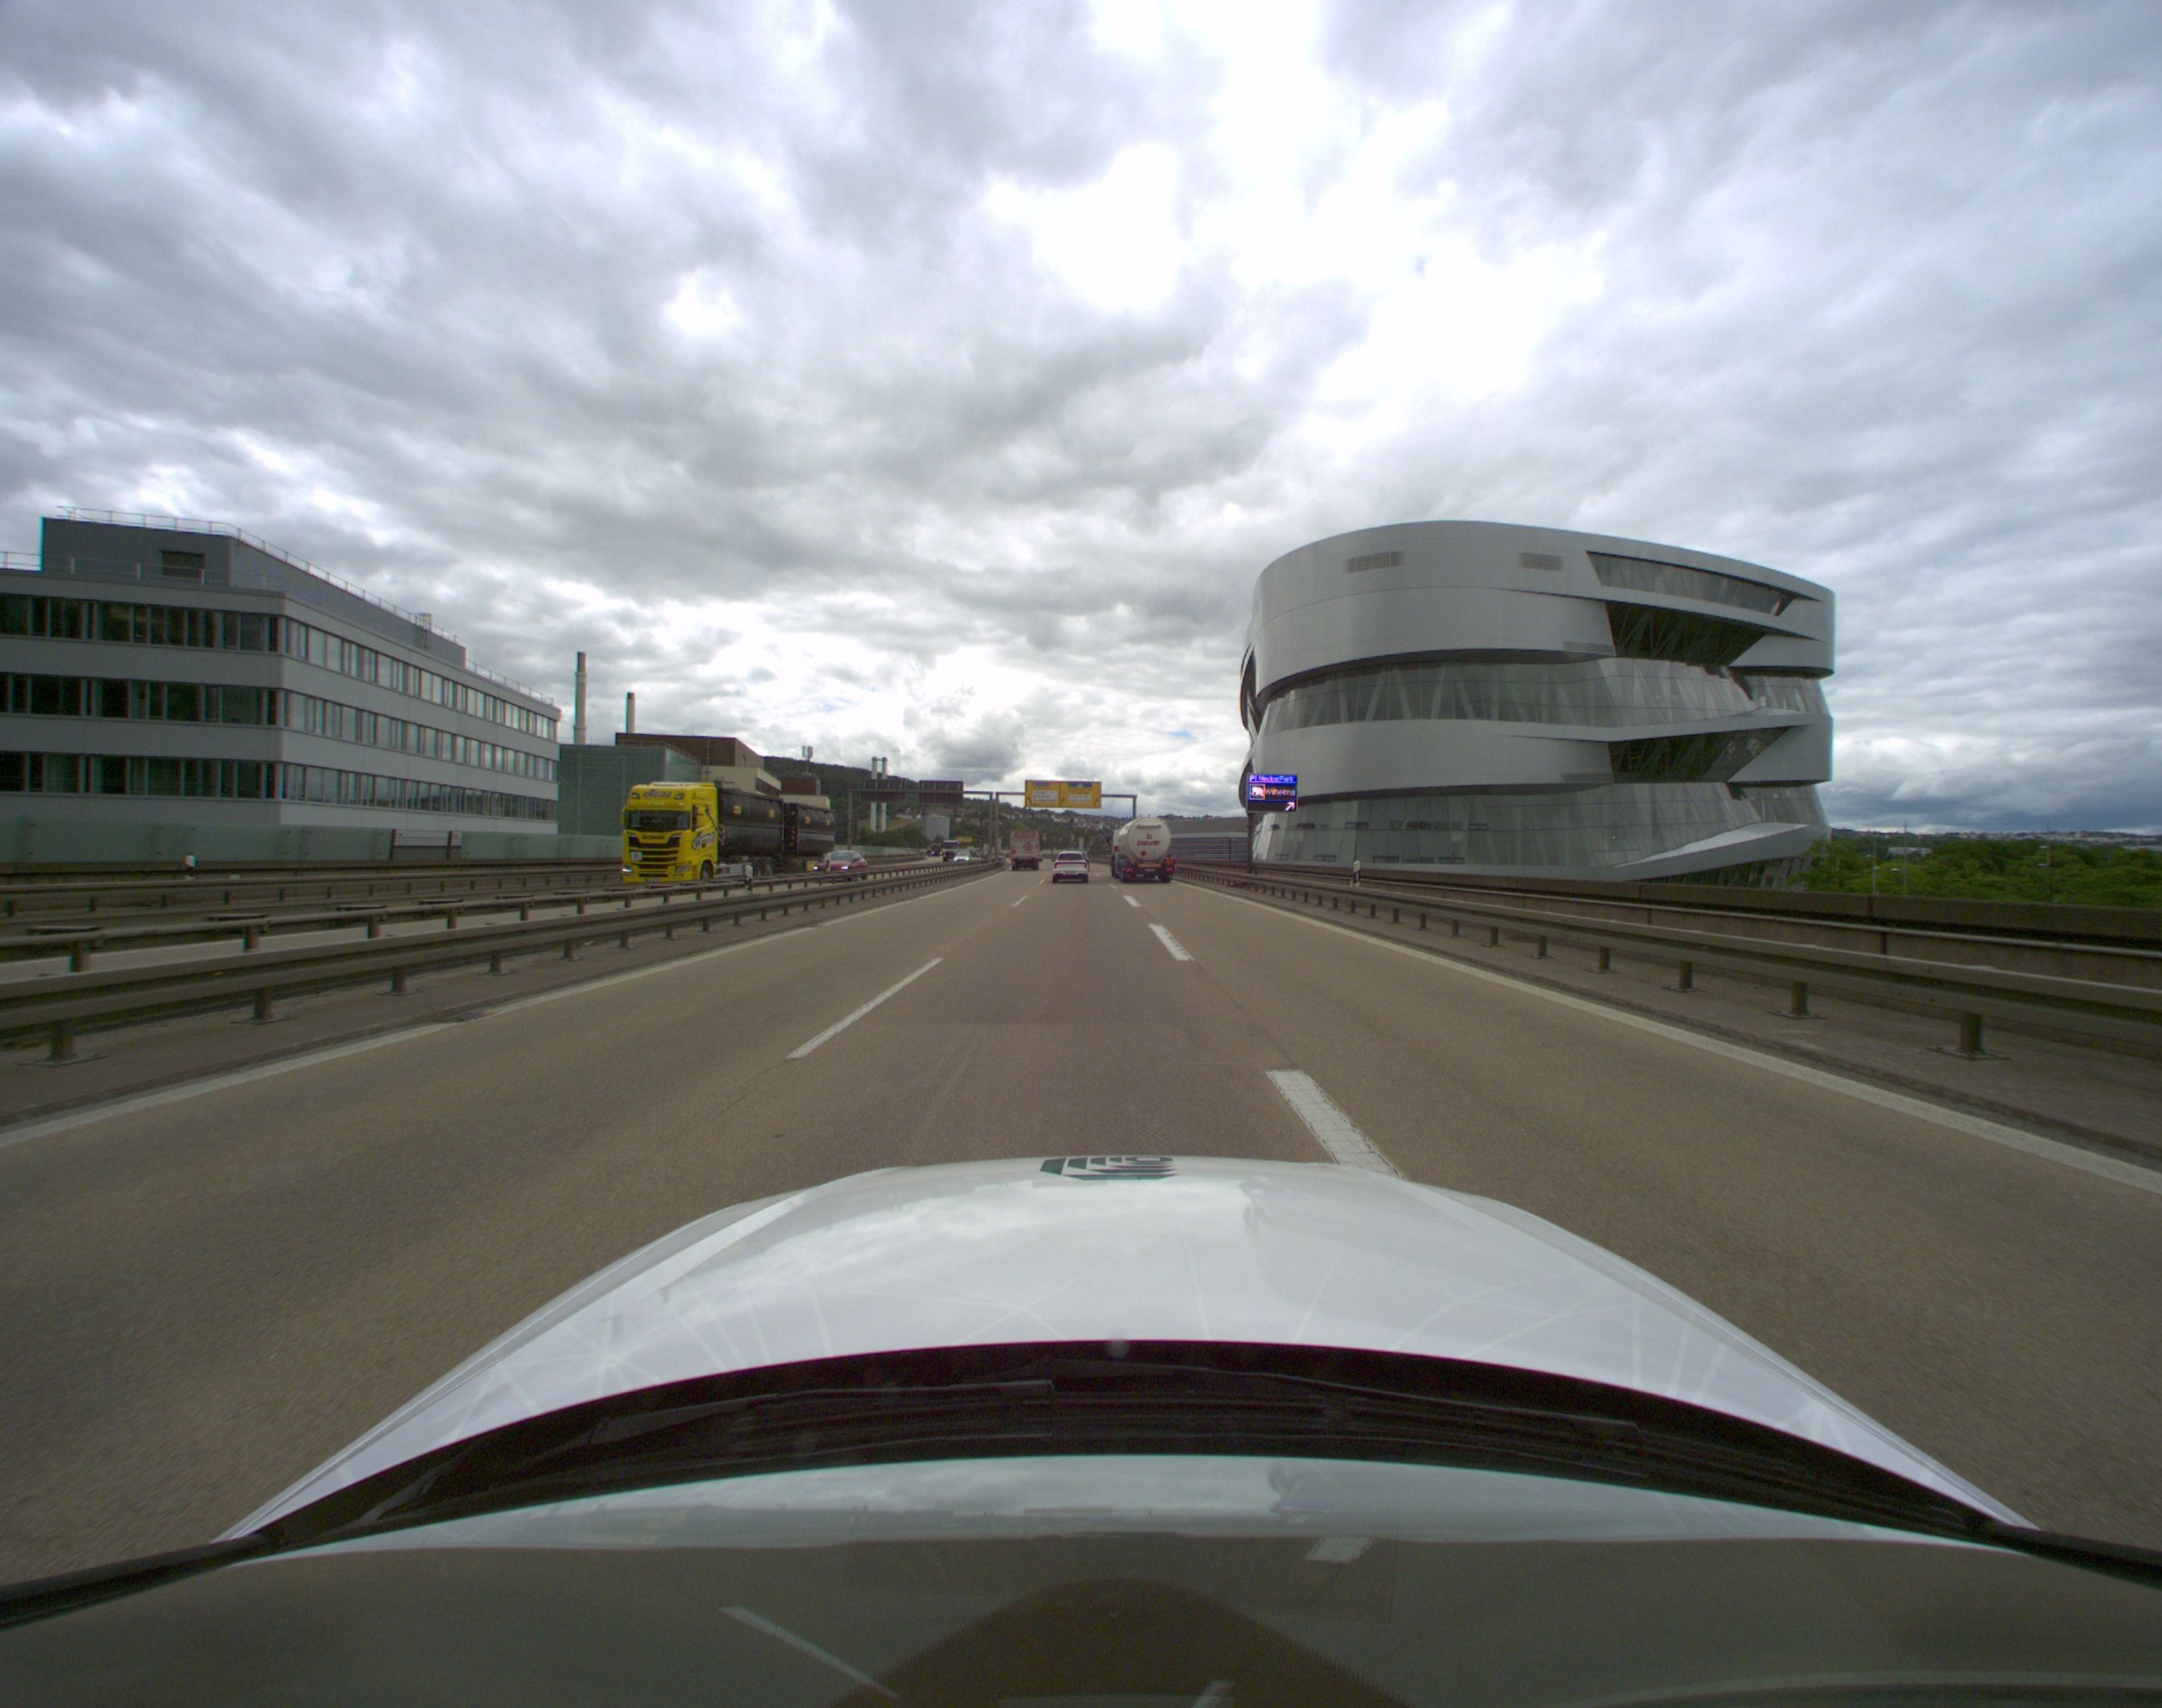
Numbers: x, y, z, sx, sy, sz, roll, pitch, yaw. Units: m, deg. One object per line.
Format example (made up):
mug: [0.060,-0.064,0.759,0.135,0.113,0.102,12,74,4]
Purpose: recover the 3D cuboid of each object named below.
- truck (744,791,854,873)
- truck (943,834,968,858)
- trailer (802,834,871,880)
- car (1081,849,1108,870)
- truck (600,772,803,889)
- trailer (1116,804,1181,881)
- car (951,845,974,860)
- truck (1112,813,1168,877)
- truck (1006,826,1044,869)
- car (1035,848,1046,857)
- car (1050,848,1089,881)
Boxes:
truck: [-15.183,-1.095,44.712,3.047,4.065,8.661,0,0,0]
truck: [-20.514,-1.183,133.523,3.051,3.776,12.499,0,0,-4]
trailer: [-11.400,0.148,38.242,1.987,2.014,3.999,0,0,0]
car: [1.088,0.485,67.734,1.989,1.675,4.403,0,0,-3]
truck: [-15.215,-0.795,34.263,3.047,4.065,11.853,0,0,0]
trailer: [3.498,-0.562,44.194,3.046,3.790,8.306,0,0,1]
car: [-13.121,-0.128,90.545,1.989,1.606,4.802,0,0,-3]
truck: [3.530,-0.480,49.924,3.004,3.657,6.272,0,0,0]
truck: [-4.961,-0.511,74.169,3.048,3.690,8.299,0,0,-1]
car: [-7.121,-0.272,143.663,1.677,1.650,4.359,1,0,0]
car: [-0.560,0.547,43.478,1.987,1.675,4.408,0,0,0]
